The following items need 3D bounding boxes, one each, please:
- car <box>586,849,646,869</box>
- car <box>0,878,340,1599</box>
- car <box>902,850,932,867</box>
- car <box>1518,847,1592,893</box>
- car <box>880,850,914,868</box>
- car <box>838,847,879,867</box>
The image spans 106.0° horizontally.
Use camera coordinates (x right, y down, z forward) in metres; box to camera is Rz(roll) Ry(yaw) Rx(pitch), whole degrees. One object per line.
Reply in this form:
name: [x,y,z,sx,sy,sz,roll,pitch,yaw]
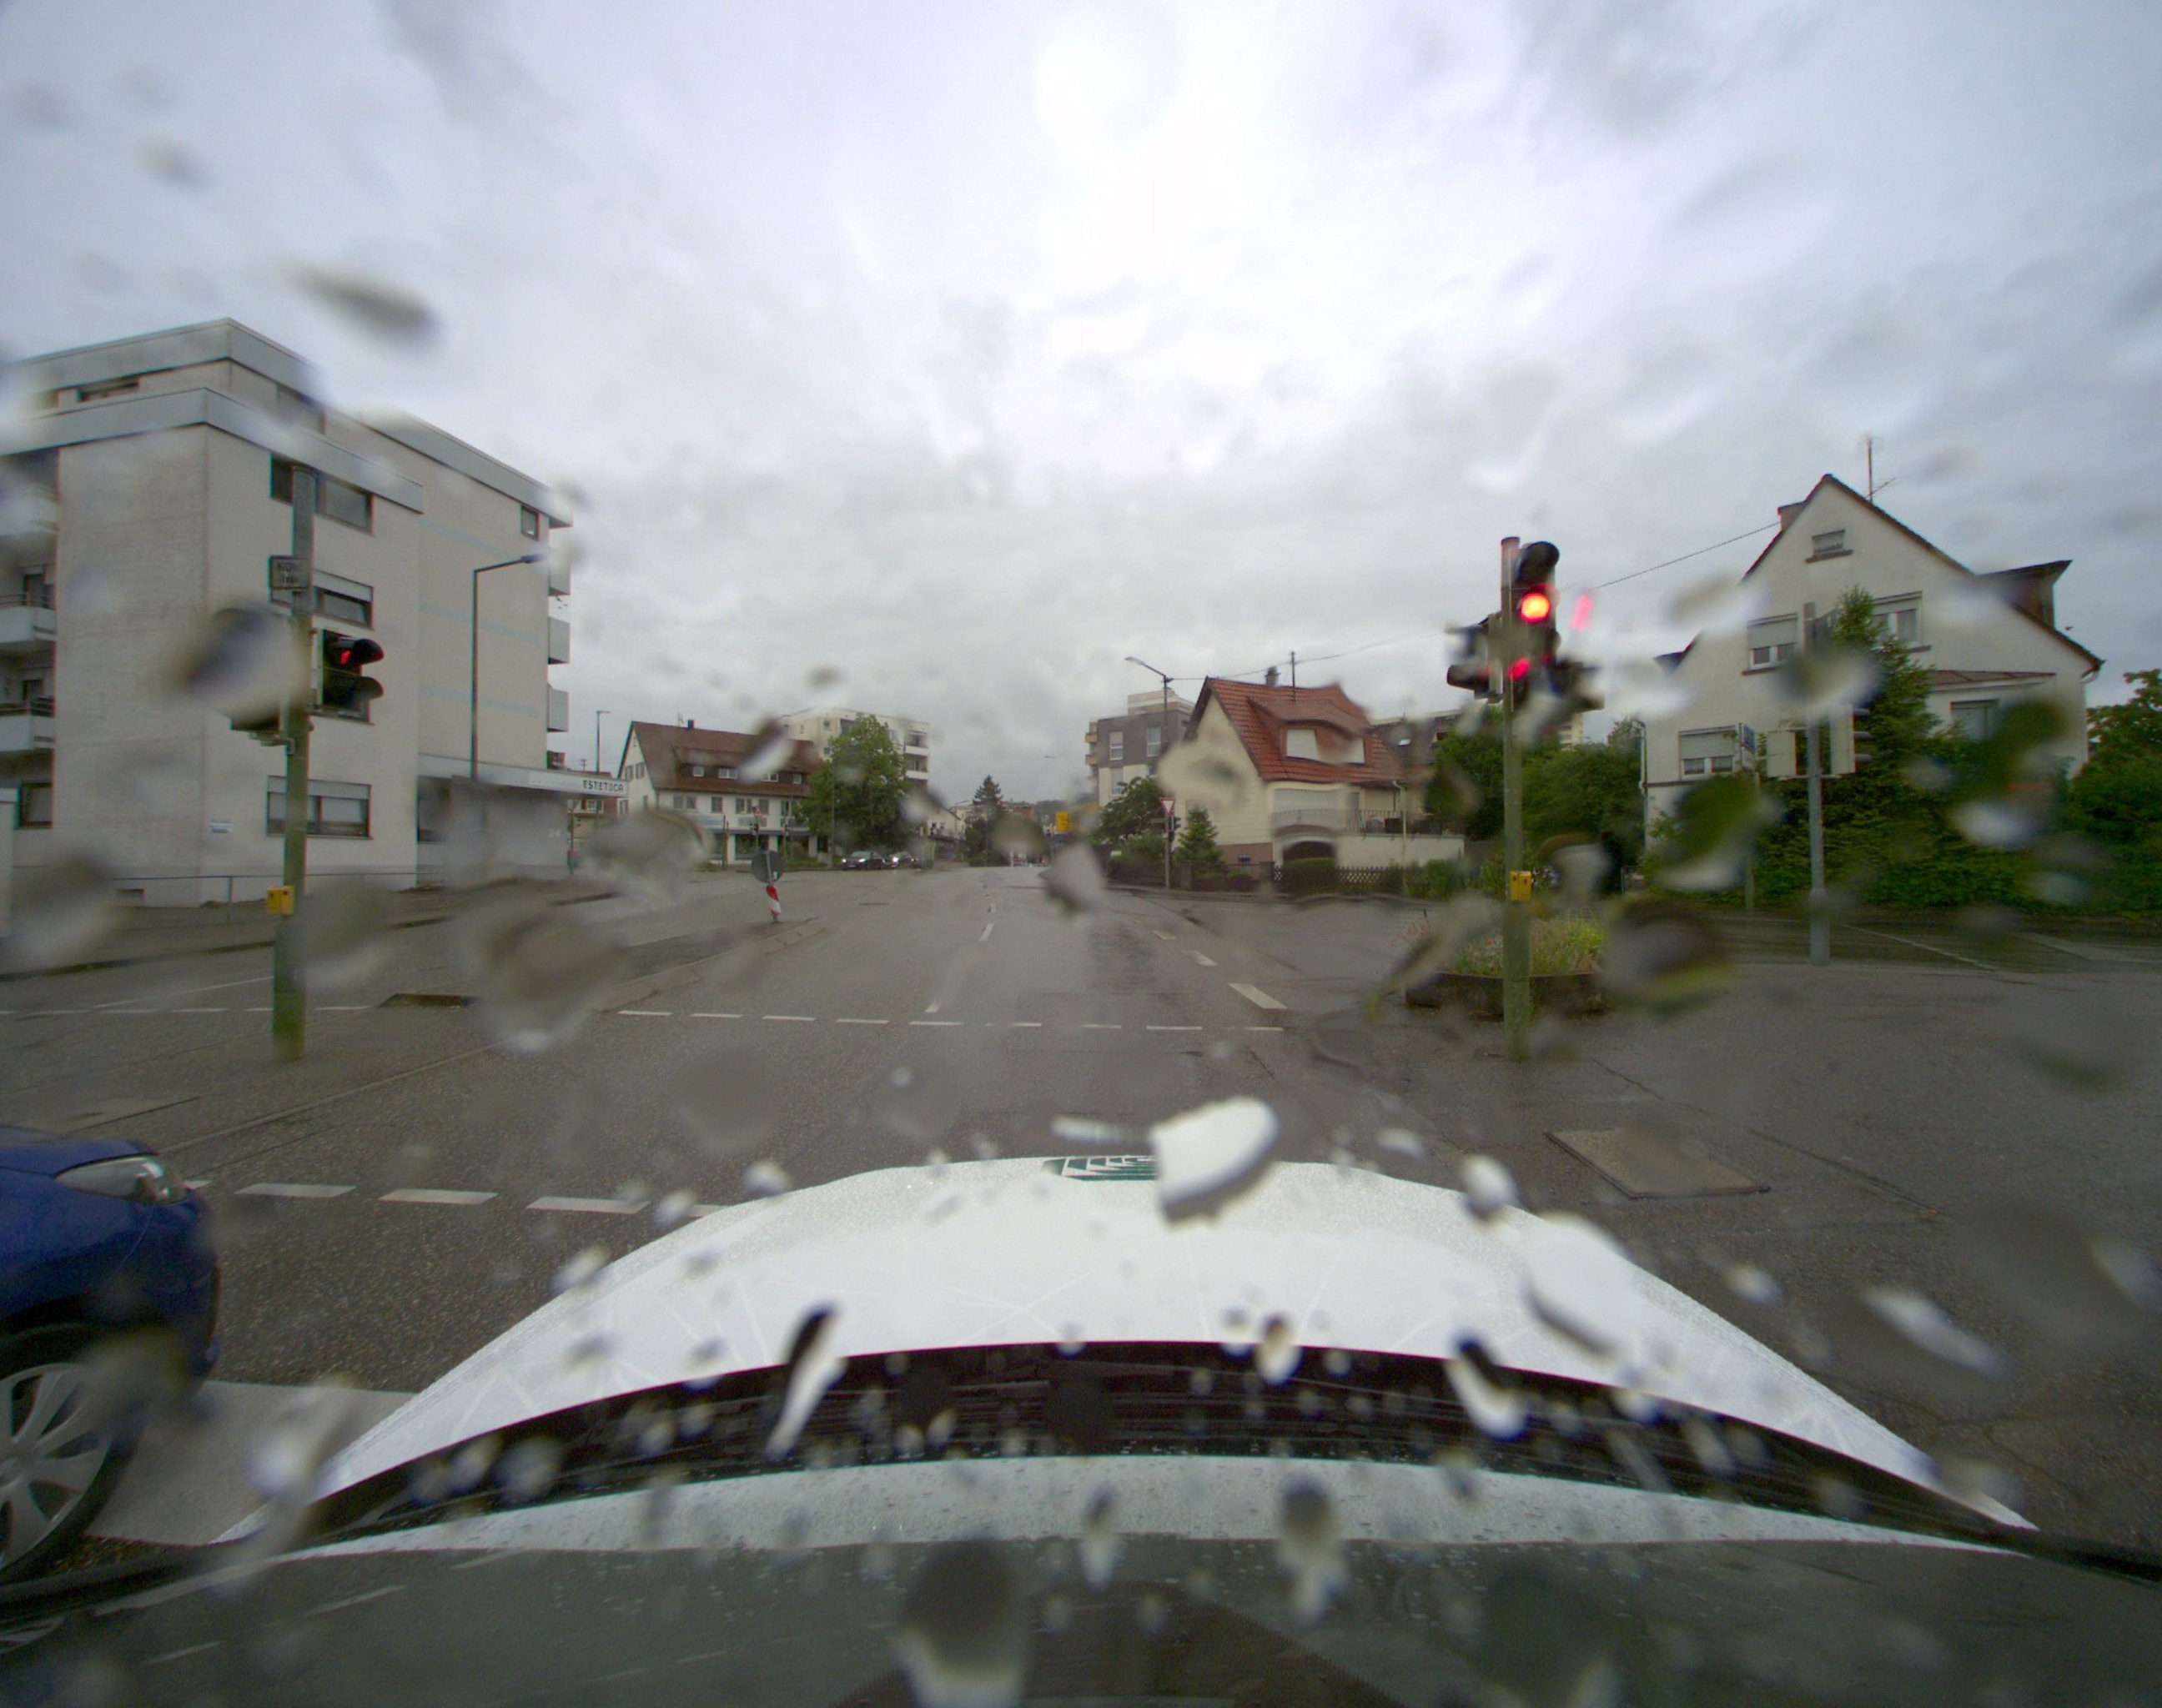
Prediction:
car: [-38.310,0.411,67.104,3.988,1.572,1.850,0,0,-42]
car: [-2.976,0.782,0.715,1.572,1.410,3.272,0,0,2]
car: [-14.467,0.373,71.936,1.772,1.420,3.832,0,0,2]
car: [17.106,0.527,29.295,1.723,1.514,4.025,0,0,39]
car: [-14.943,0.365,66.175,1.708,1.387,4.022,0,0,2]
car: [-15.999,0.215,58.756,1.772,1.420,3.832,0,0,2]
